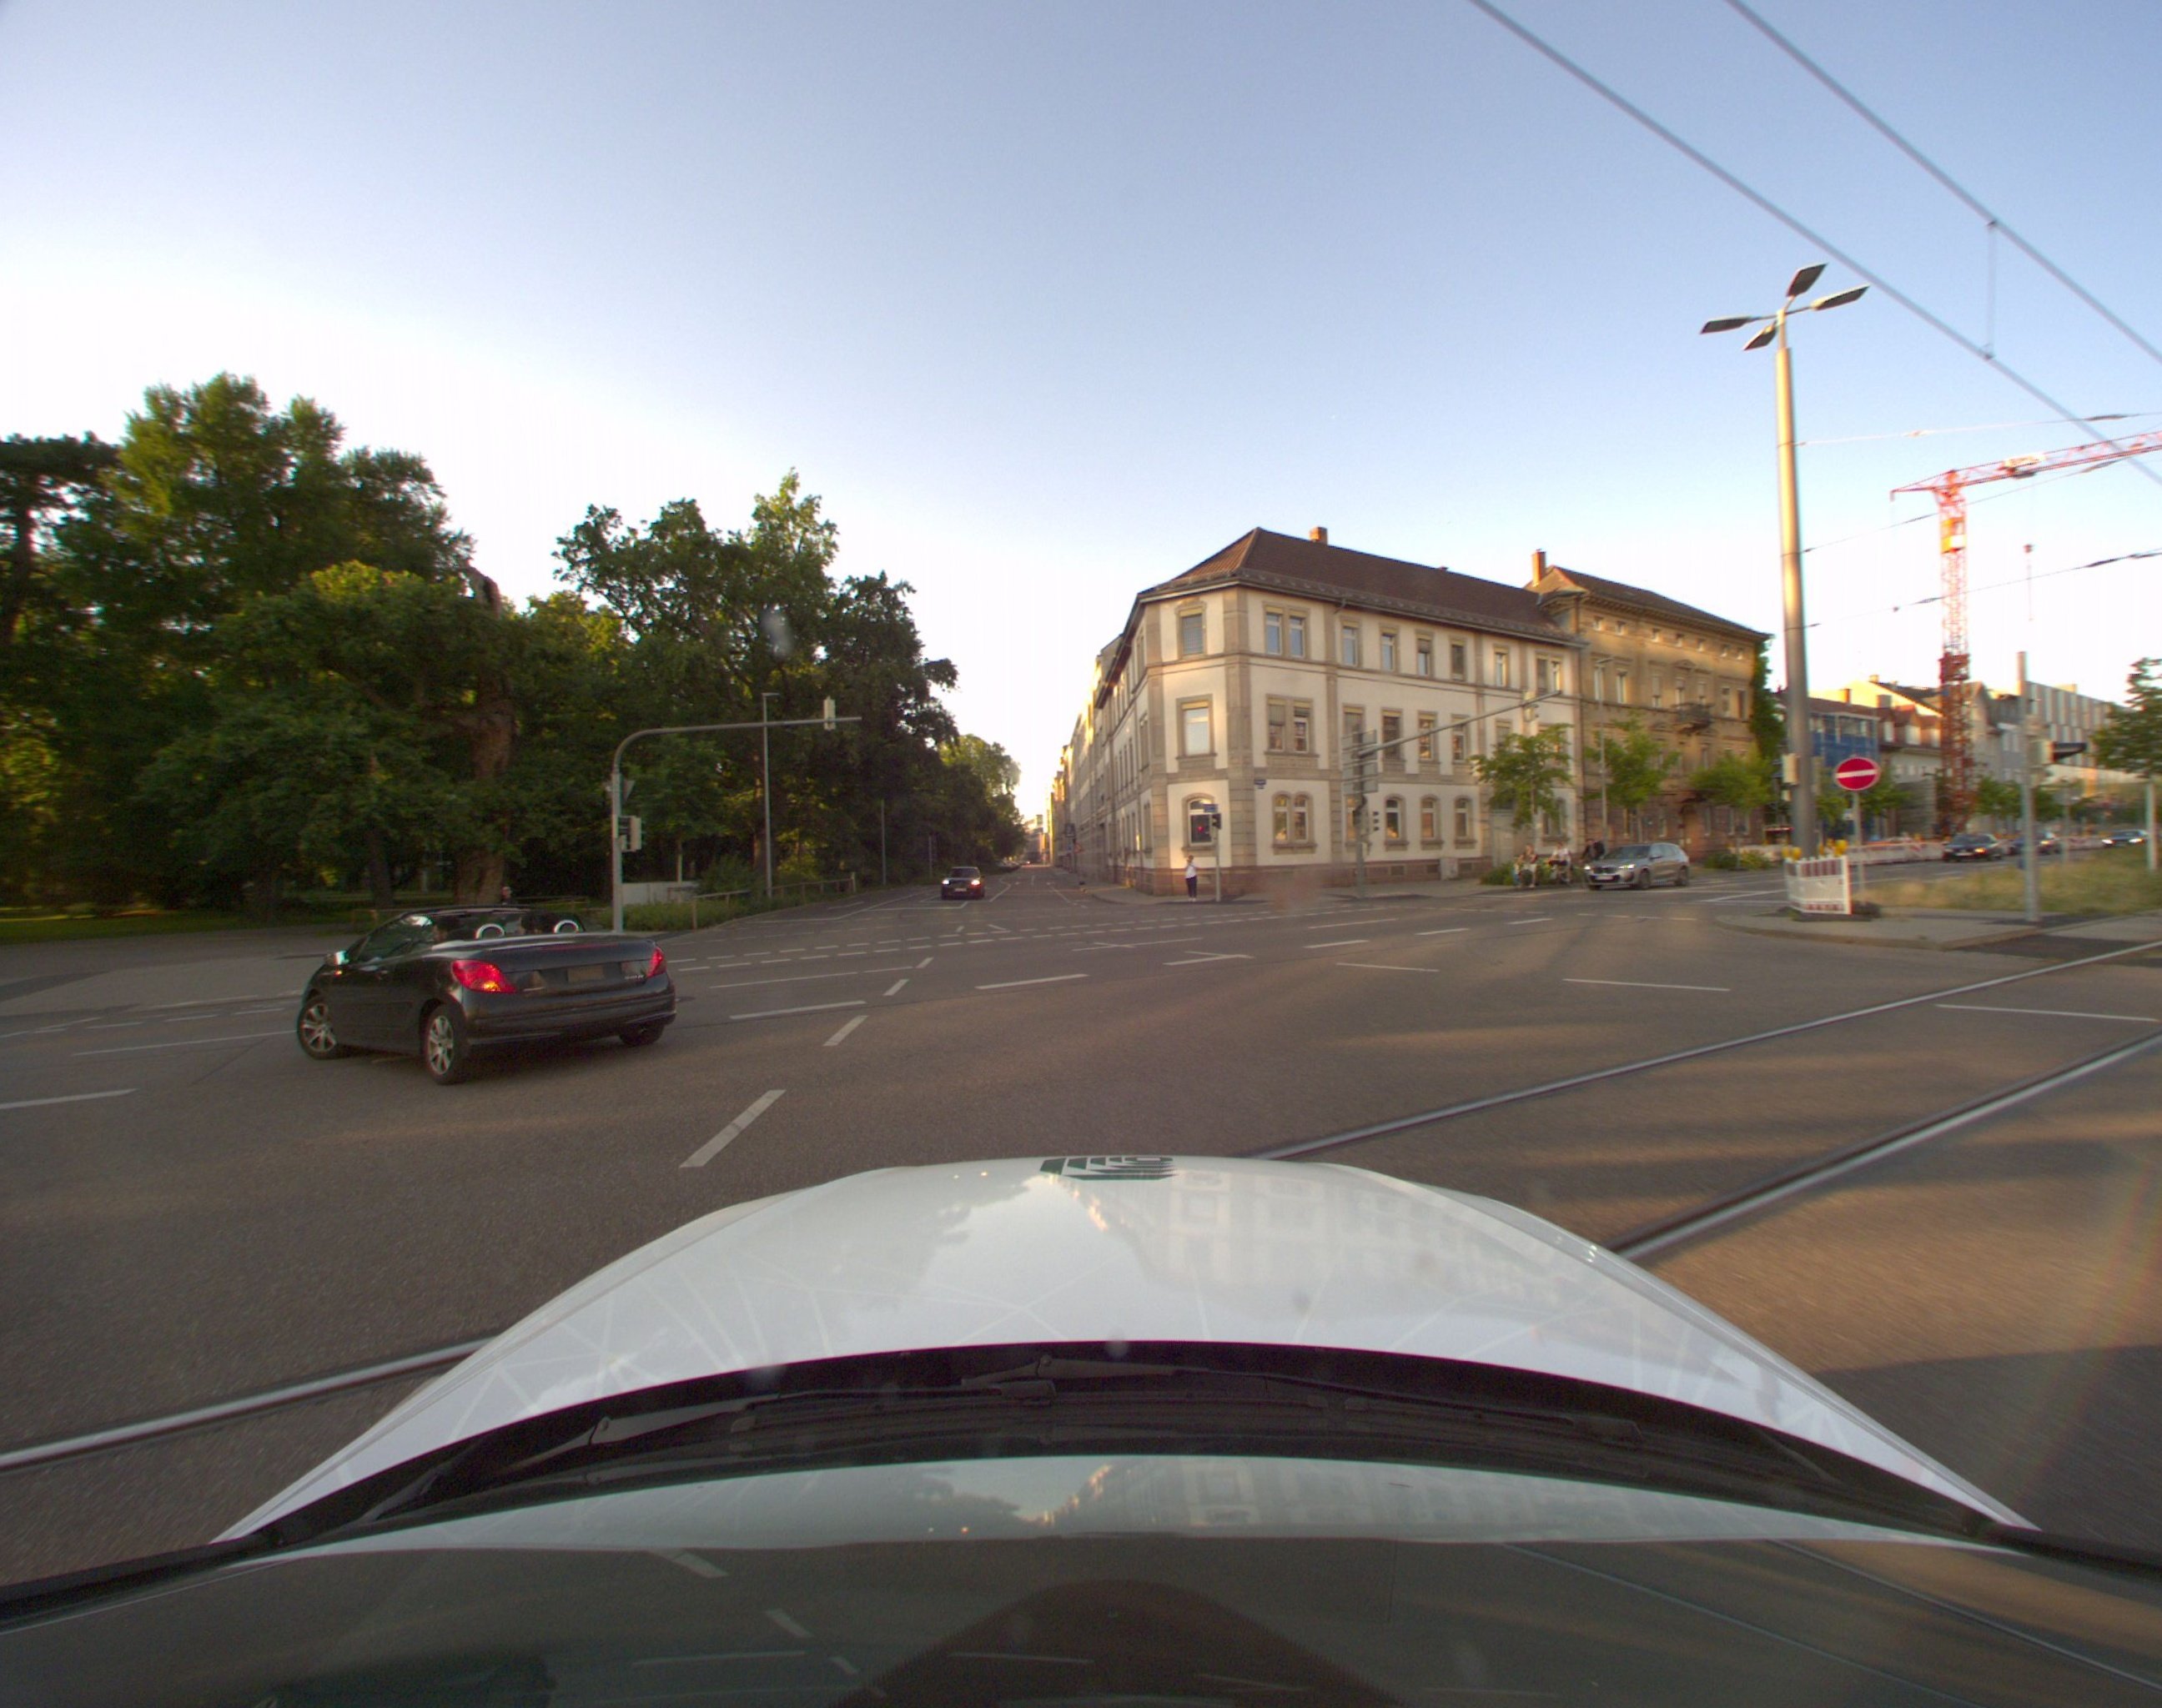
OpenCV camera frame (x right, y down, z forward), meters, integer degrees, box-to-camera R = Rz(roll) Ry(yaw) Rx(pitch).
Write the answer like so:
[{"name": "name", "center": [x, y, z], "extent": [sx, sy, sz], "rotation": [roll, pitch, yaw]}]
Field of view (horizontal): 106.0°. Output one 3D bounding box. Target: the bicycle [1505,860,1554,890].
[{"name": "bicycle", "center": [17.102, 0.776, 31.054], "extent": [2.051, 1.051, 0.524], "rotation": [-2, -1, -26]}]

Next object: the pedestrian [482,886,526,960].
[{"name": "pedestrian", "center": [-12.221, 1.445, 17.267], "extent": [0.619, 1.504, 0.576], "rotation": [-2, 0, -24]}]

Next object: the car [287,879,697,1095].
[{"name": "car", "center": [-5.534, 1.027, 7.548], "extent": [3.850, 1.449, 1.735], "rotation": [-2, 0, 32]}]

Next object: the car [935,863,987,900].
[{"name": "car", "center": [-5.353, 1.214, 36.826], "extent": [1.818, 1.517, 3.574], "rotation": [-2, 0, -1]}]

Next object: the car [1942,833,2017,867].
[{"name": "car", "center": [47.771, -0.214, 43.293], "extent": [4.271, 1.597, 1.688], "rotation": [-2, -1, -29]}]

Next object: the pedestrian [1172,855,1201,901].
[{"name": "pedestrian", "center": [3.900, 0.879, 30.164], "extent": [0.808, 1.656, 0.641], "rotation": [-2, 0, 41]}]

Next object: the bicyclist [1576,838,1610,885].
[{"name": "bicyclist", "center": [19.486, 0.283, 31.012], "extent": [0.771, 1.701, 0.698], "rotation": [-3, -3, -36]}]

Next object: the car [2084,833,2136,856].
[{"name": "car", "center": [76.727, -0.727, 60.719], "extent": [3.900, 1.597, 1.688], "rotation": [-2, -1, -29]}]

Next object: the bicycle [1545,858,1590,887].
[{"name": "bicycle", "center": [19.208, 0.704, 32.134], "extent": [2.048, 1.051, 0.513], "rotation": [-2, 1, -27]}]

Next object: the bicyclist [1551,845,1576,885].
[{"name": "bicyclist", "center": [18.963, 0.428, 32.004], "extent": [0.694, 1.548, 0.508], "rotation": [-2, 1, -27]}]

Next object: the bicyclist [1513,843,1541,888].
[{"name": "bicyclist", "center": [16.974, 0.439, 30.993], "extent": [0.769, 1.701, 0.506], "rotation": [-2, -1, -26]}]

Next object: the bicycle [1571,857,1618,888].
[{"name": "bicycle", "center": [19.562, 0.693, 31.023], "extent": [2.052, 1.051, 0.713], "rotation": [-2, -3, -35]}]

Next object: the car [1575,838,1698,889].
[{"name": "car", "center": [19.733, 0.326, 28.897], "extent": [4.271, 1.597, 1.818], "rotation": [-2, -1, -29]}]
